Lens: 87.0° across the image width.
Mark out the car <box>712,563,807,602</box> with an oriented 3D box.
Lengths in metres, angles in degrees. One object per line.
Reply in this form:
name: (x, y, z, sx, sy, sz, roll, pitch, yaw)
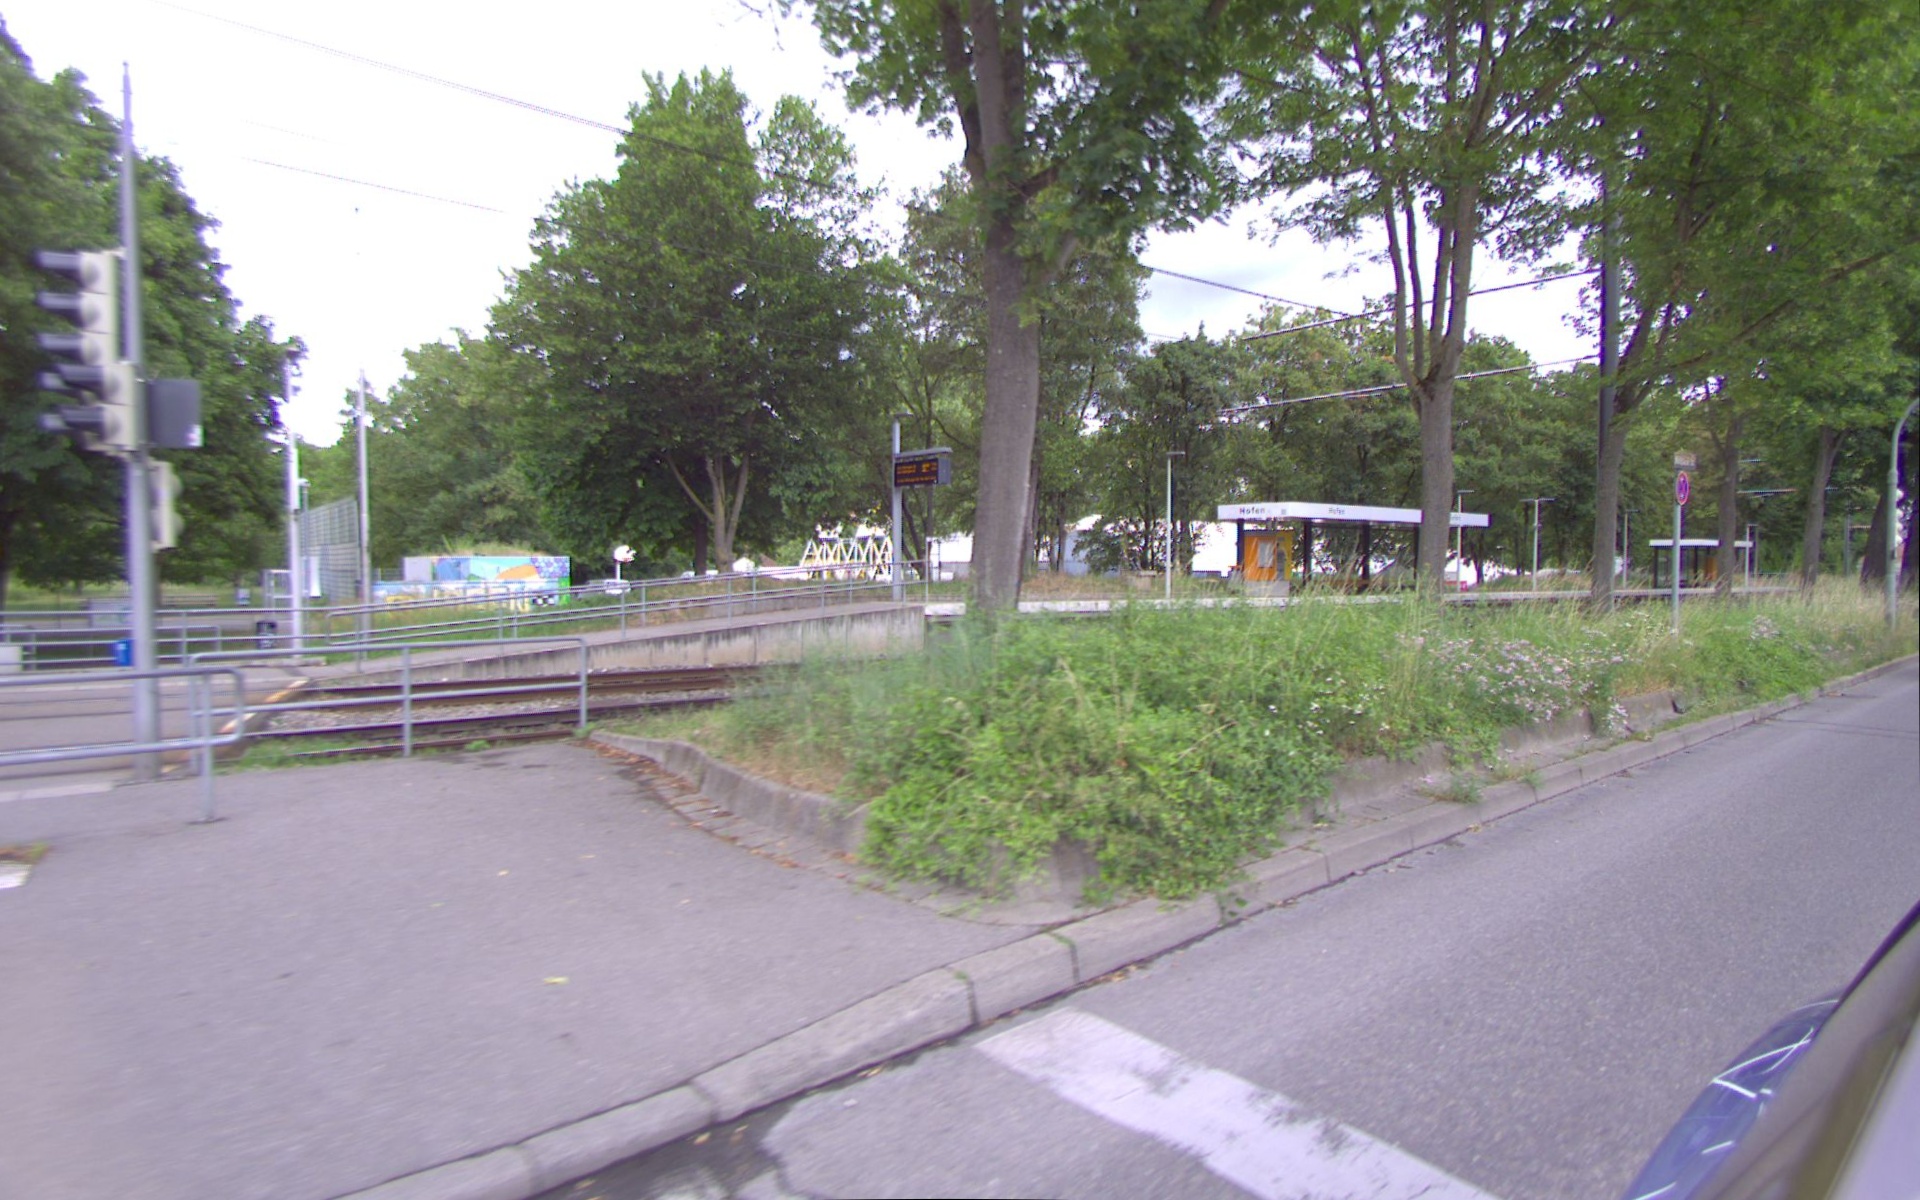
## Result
car: (-12.748, -1.108, 64.552, 5.704, 2.413, 1.998, 0, 1, -40)
